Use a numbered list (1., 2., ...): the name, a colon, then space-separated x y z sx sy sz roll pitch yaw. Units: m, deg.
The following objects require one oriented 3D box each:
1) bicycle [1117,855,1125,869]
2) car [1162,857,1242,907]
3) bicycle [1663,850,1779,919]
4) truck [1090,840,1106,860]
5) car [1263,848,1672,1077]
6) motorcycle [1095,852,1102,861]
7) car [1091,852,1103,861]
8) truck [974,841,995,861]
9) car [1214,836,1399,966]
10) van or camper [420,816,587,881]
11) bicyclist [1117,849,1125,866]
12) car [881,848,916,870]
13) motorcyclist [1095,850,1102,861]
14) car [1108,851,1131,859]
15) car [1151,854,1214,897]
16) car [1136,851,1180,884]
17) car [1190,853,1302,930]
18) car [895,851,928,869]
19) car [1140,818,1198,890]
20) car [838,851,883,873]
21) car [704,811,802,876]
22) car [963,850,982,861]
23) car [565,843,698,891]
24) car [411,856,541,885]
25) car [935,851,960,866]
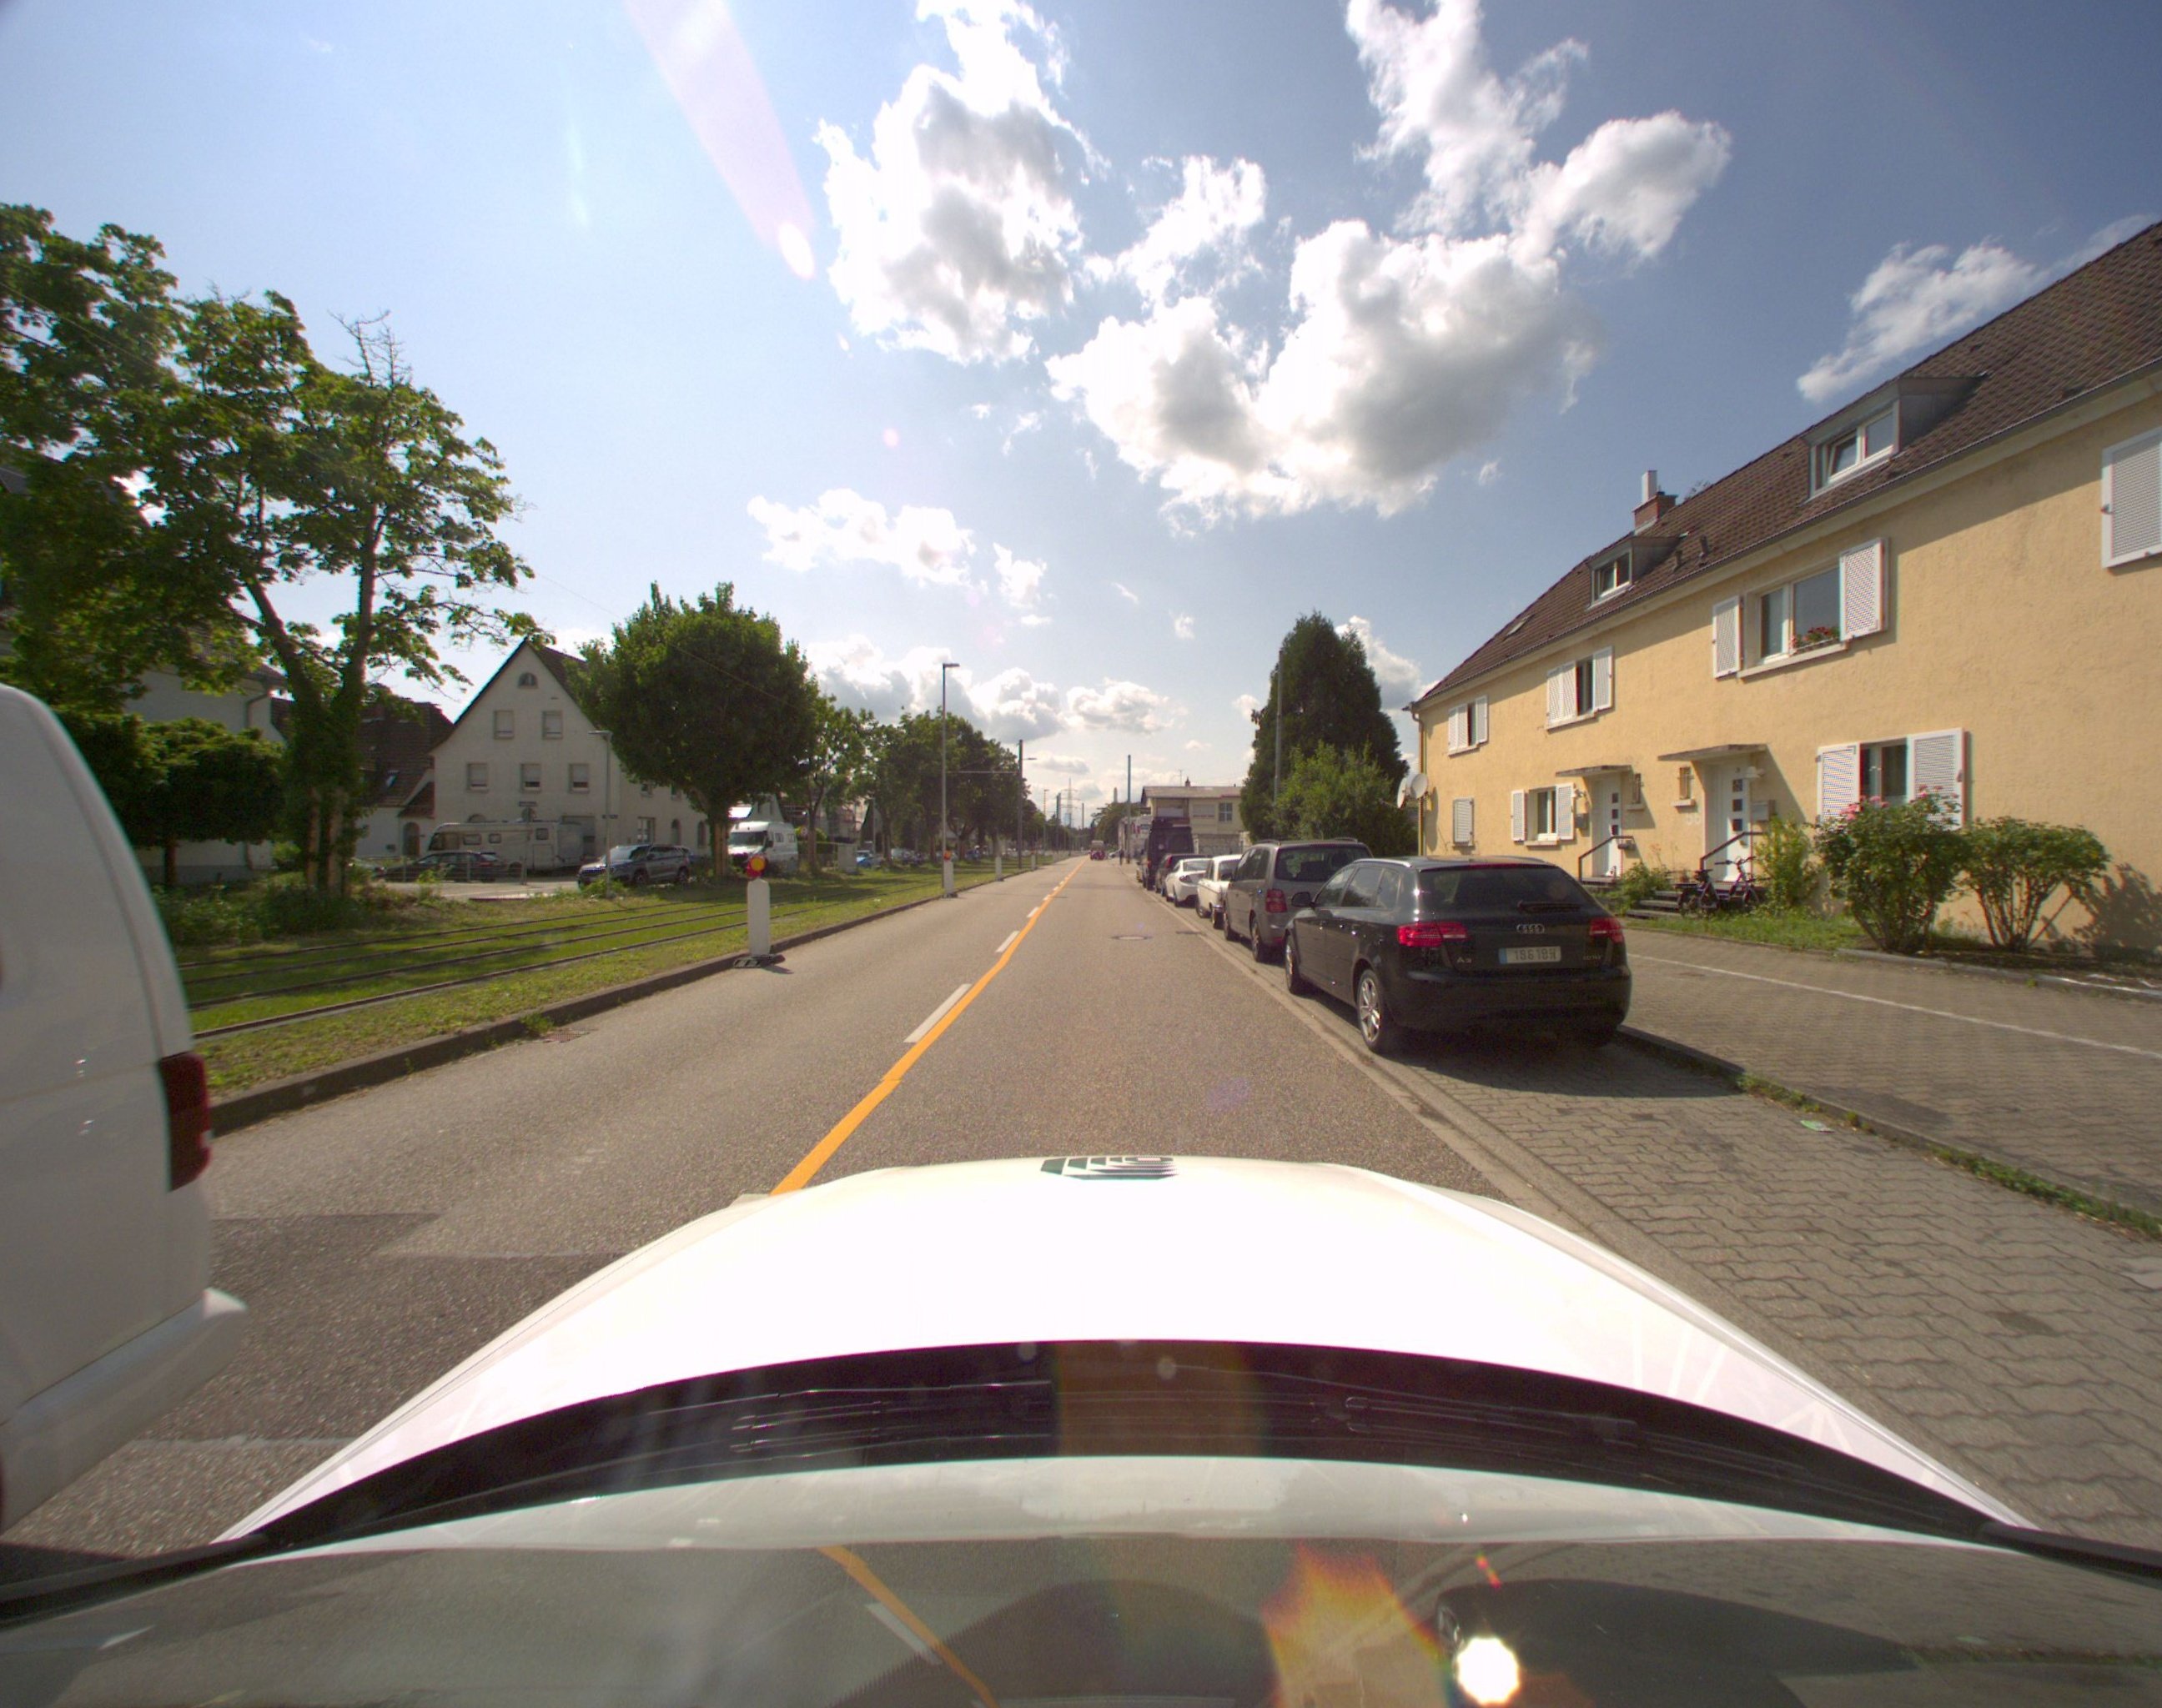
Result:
1. bicycle: 3.969 0.791 80.949 0.690 1.361 2.419 0 0 1
2. car: 3.384 0.741 23.520 1.715 1.295 4.128 -1 0 0
3. bicycle: 10.540 0.497 13.427 1.683 1.102 0.290 1 0 0
4. truck: 3.086 -0.746 144.349 2.600 3.255 9.187 0 1 2
5. car: 2.986 0.731 7.500 1.679 1.437 4.517 -1 -1 1
6. motorcycle: 2.663 0.431 123.536 0.936 1.320 2.645 2 0 1
7. car: 2.588 0.365 128.013 1.815 1.424 4.001 1 0 1
8. truck: -13.715 -0.440 115.500 1.986 2.767 6.277 -3 0 1
9. car: 3.216 0.598 12.484 1.673 1.630 4.271 -1 0 1
10. van or camper: -29.617 -0.294 41.950 6.705 3.221 2.635 0 0 0
11. bicyclist: 3.973 0.340 80.892 0.669 1.744 0.813 0 0 0
12. car: -14.631 0.382 65.396 1.988 1.691 4.388 0 -1 -2
13. motorcyclist: 2.669 0.278 123.356 0.936 1.615 1.205 2 0 1
14. car: 7.837 0.139 165.435 4.326 1.551 1.945 0 -1 -7
15. car: 3.528 0.706 28.983 1.715 1.402 4.838 -1 0 1
16. car: 3.772 0.646 40.413 1.686 1.516 4.353 0 -1 -1
17. car: 3.334 0.698 17.137 1.643 1.418 4.027 -1 0 2
18. car: -14.788 0.534 71.141 1.987 1.439 4.000 -1 -1 1
19. car: 3.602 -0.002 34.275 1.989 2.760 4.880 -1 0 1
20. car: -14.707 0.517 54.441 1.746 1.436 3.892 0 -1 3
21. car: -14.986 -0.452 37.724 1.988 2.730 6.460 0 0 -1
22. car: -13.922 0.198 104.599 1.988 1.453 3.998 0 -1 -1
23. car: -15.232 0.425 27.931 1.986 1.506 4.487 0 0 1
24. car: -25.732 0.684 34.748 3.973 1.161 2.046 0 -1 0
25. car: -14.221 0.489 86.987 1.798 1.482 4.941 0 0 1
